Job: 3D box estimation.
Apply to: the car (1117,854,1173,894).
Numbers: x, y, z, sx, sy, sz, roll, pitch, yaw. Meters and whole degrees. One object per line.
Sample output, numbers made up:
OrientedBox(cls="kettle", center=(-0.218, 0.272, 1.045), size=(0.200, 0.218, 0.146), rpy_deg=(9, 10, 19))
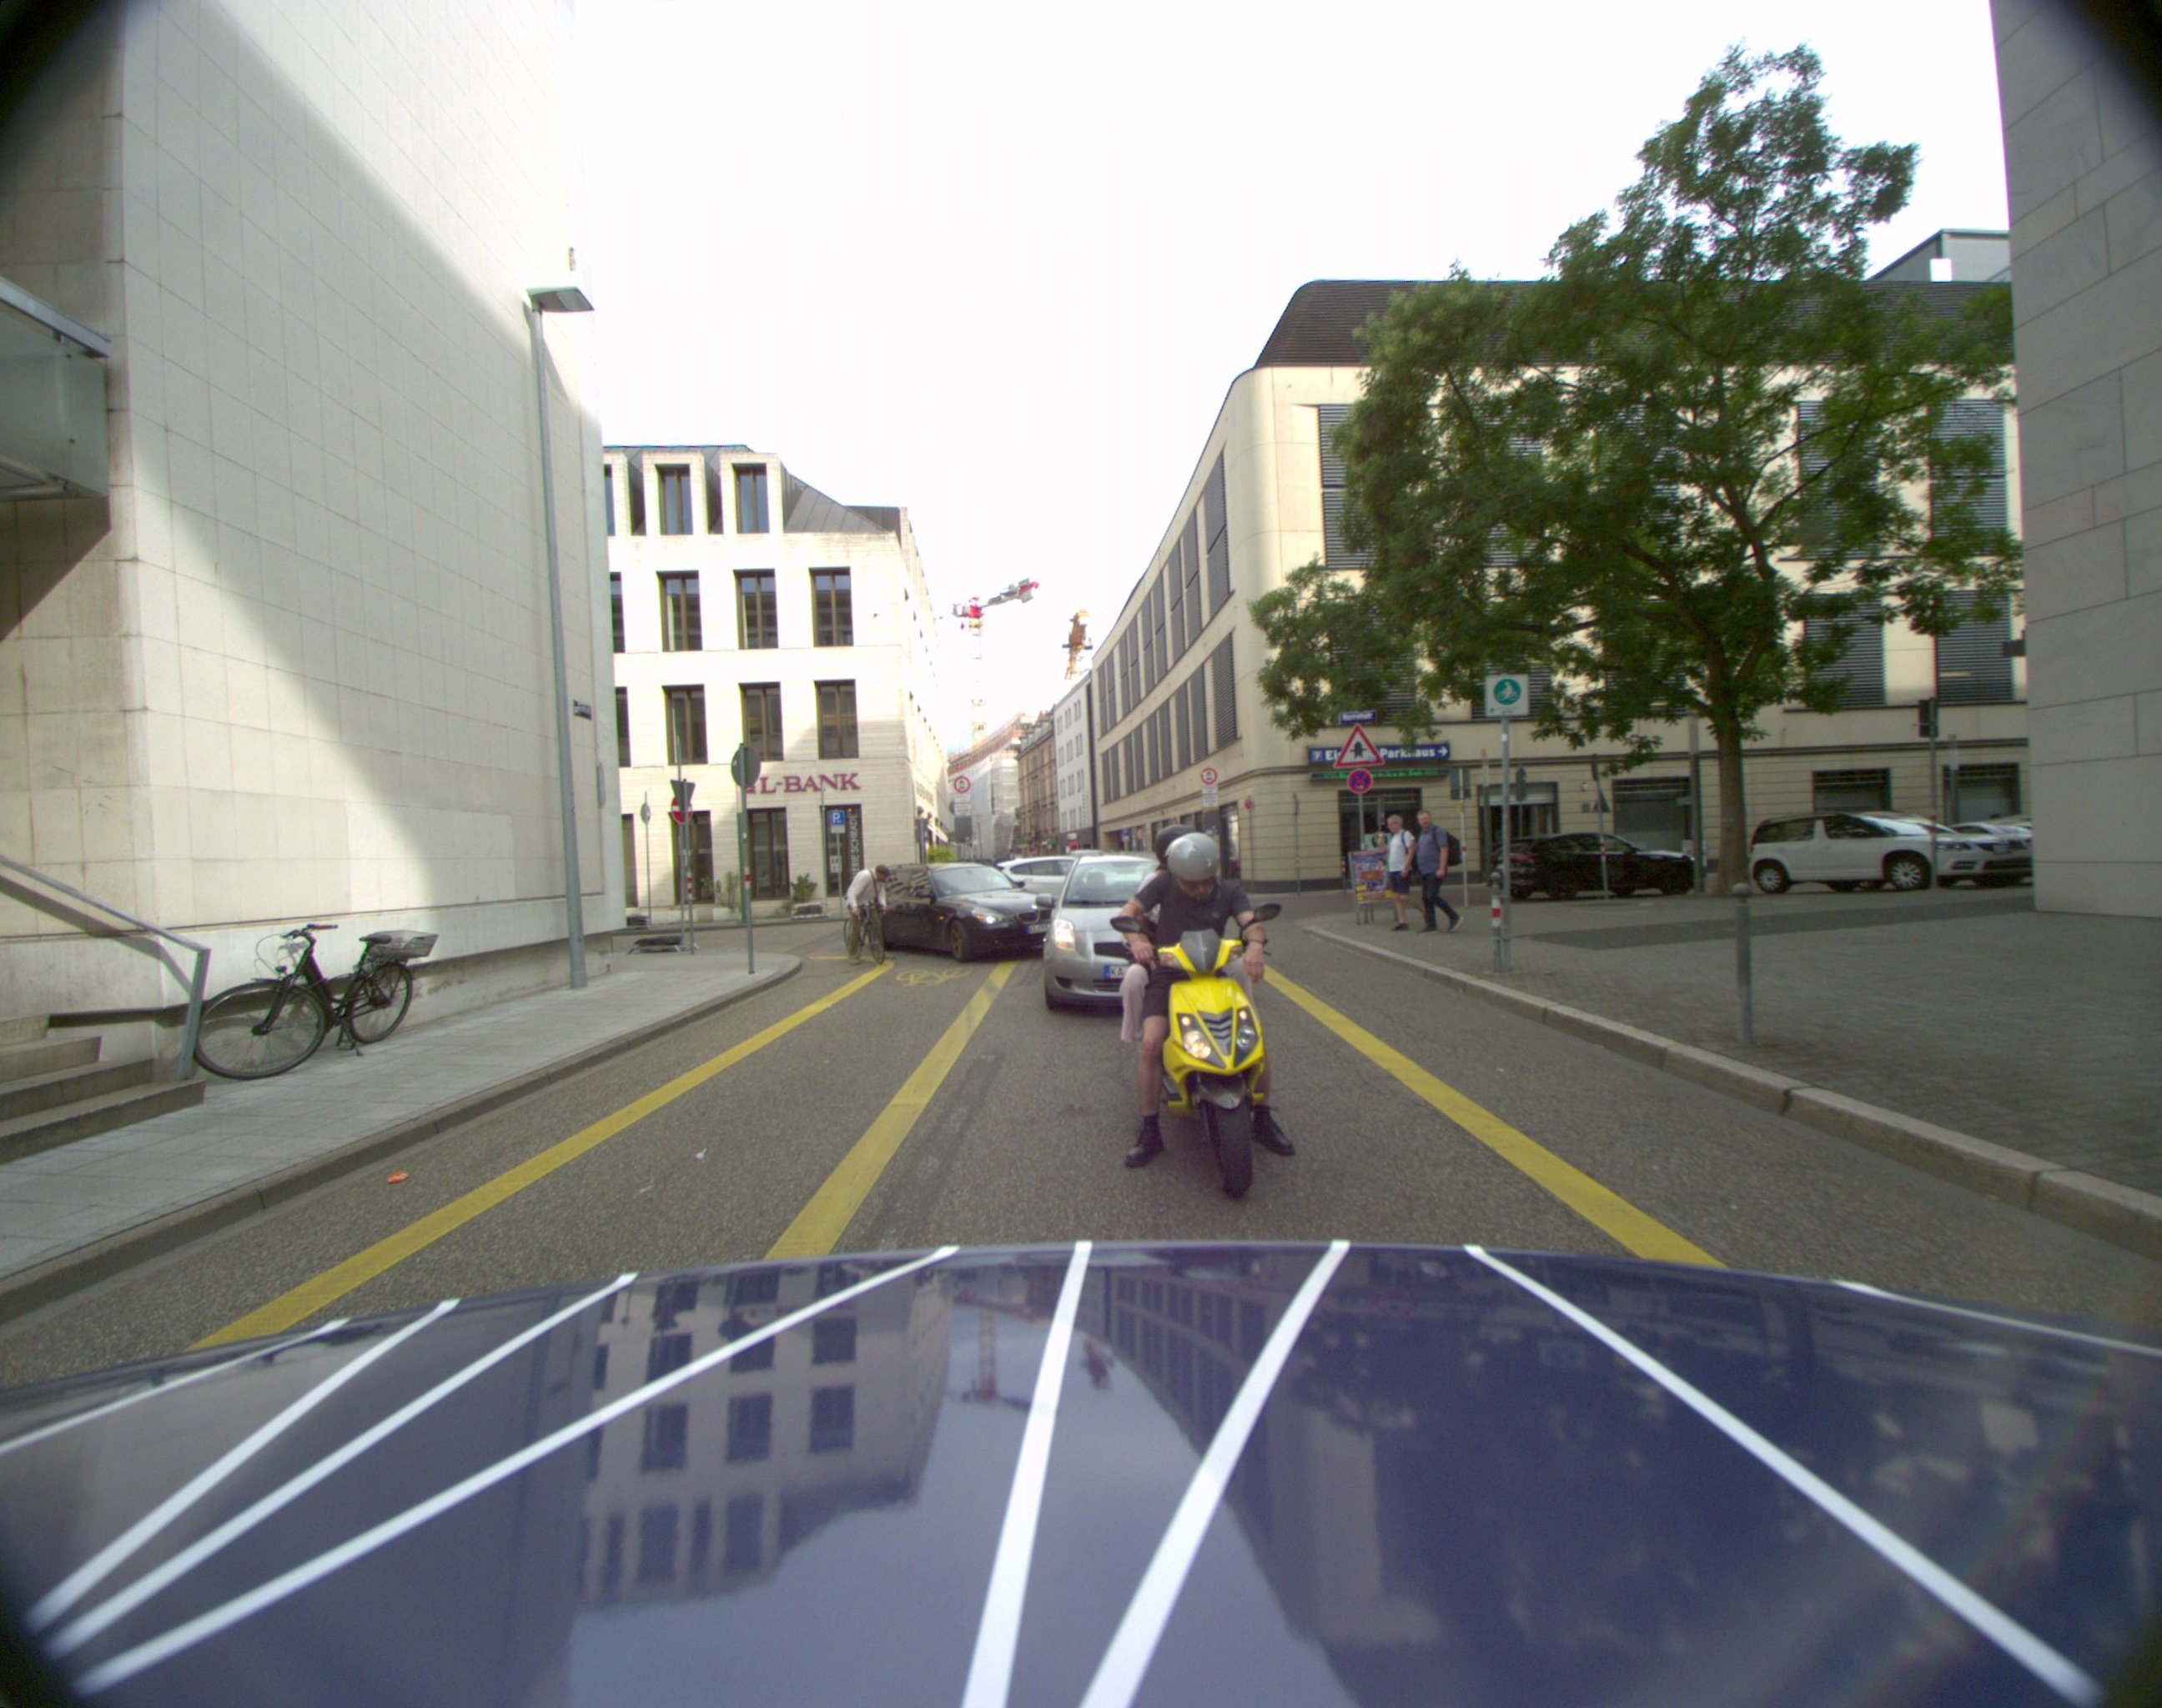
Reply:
OrientedBox(cls="car", center=(2.717, 0.810, 33.122), size=(1.563, 1.547, 4.100), rpy_deg=(-3, 1, -7))

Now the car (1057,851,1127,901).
OrientedBox(cls="car", center=(0.290, 0.681, 25.804), size=(1.710, 1.482, 4.100), rpy_deg=(-3, 1, -8))

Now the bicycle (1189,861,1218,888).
OrientedBox(cls="bicycle", center=(5.354, 0.882, 33.278), size=(0.692, 1.038, 2.543), rpy_deg=(-2, 1, -4))

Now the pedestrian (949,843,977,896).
OrientedBox(cls="pedestrian", center=(-4.211, 0.534, 27.102), size=(0.774, 1.820, 0.860), rpy_deg=(-3, 1, -20))

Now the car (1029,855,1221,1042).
OrientedBox(cls="car", center=(0.432, 0.811, 8.345), size=(1.562, 1.482, 3.784), rpy_deg=(-3, 1, 2))

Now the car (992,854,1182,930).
OrientedBox(cls="car", center=(0.118, 0.871, 18.557), size=(4.364, 1.572, 1.814), rpy_deg=(-2, 1, -2))

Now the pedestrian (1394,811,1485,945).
OrientedBox(cls="pedestrian", center=(5.181, 0.339, 11.025), size=(0.745, 1.804, 0.756), rpy_deg=(-6, 1, -11))

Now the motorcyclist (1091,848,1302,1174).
OrientedBox(cls="motorcyclist", center=(0.524, 0.700, 3.913), size=(0.924, 1.445, 1.065), rpy_deg=(-1, 0, 1))

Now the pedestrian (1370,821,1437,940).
OrientedBox(cls="pedestrian", center=(4.960, 0.401, 11.704), size=(0.644, 1.755, 0.653), rpy_deg=(-2, 1, -11))

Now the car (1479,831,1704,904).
OrientedBox(cls="car", center=(12.682, 0.361, 19.060), size=(4.364, 1.591, 1.816), rpy_deg=(-2, -2, -2))

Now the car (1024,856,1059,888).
OrientedBox(cls="car", center=(-2.233, 0.941, 41.840), size=(1.563, 1.547, 4.100), rpy_deg=(-3, 1, -7))

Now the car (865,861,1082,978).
OrientedBox(cls="car", center=(-1.856, 0.929, 12.191), size=(1.720, 1.482, 3.755), rpy_deg=(-3, 1, -38))

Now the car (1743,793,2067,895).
OrientedBox(cls="car", center=(15.911, -0.076, 15.052), size=(1.899, 1.682, 3.964), rpy_deg=(-2, -3, -3))

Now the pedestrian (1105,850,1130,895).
OrientedBox(cls="pedestrian", center=(1.511, 0.756, 31.827), size=(0.862, 1.820, 0.773), rpy_deg=(-2, 1, -8))

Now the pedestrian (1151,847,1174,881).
OrientedBox(cls="pedestrian", center=(4.492, 0.563, 41.807), size=(0.892, 1.755, 1.060), rpy_deg=(-6, 1, -4))

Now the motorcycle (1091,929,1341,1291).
OrientedBox(cls="motorcycle", center=(0.529, 1.074, 3.932), size=(0.929, 1.158, 2.127), rpy_deg=(-1, 0, 1))

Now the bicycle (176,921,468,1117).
OrientedBox(cls="bicycle", center=(-5.994, 1.225, 6.179), size=(0.590, 1.160, 1.814), rpy_deg=(-2, 1, -4))

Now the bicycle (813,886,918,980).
OrientedBox(cls="bicycle", center=(-3.470, 1.156, 12.006), size=(0.872, 1.188, 2.857), rpy_deg=(-3, 1, -30))

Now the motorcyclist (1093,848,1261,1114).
OrientedBox(cls="motorcyclist", center=(0.532, 0.697, 4.524), size=(0.903, 1.445, 0.742), rpy_deg=(-1, 0, 1))

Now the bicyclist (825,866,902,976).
OrientedBox(cls="bicyclist", center=(-3.390, 0.996, 11.822), size=(0.894, 1.585, 0.875), rpy_deg=(-3, 1, -30))
